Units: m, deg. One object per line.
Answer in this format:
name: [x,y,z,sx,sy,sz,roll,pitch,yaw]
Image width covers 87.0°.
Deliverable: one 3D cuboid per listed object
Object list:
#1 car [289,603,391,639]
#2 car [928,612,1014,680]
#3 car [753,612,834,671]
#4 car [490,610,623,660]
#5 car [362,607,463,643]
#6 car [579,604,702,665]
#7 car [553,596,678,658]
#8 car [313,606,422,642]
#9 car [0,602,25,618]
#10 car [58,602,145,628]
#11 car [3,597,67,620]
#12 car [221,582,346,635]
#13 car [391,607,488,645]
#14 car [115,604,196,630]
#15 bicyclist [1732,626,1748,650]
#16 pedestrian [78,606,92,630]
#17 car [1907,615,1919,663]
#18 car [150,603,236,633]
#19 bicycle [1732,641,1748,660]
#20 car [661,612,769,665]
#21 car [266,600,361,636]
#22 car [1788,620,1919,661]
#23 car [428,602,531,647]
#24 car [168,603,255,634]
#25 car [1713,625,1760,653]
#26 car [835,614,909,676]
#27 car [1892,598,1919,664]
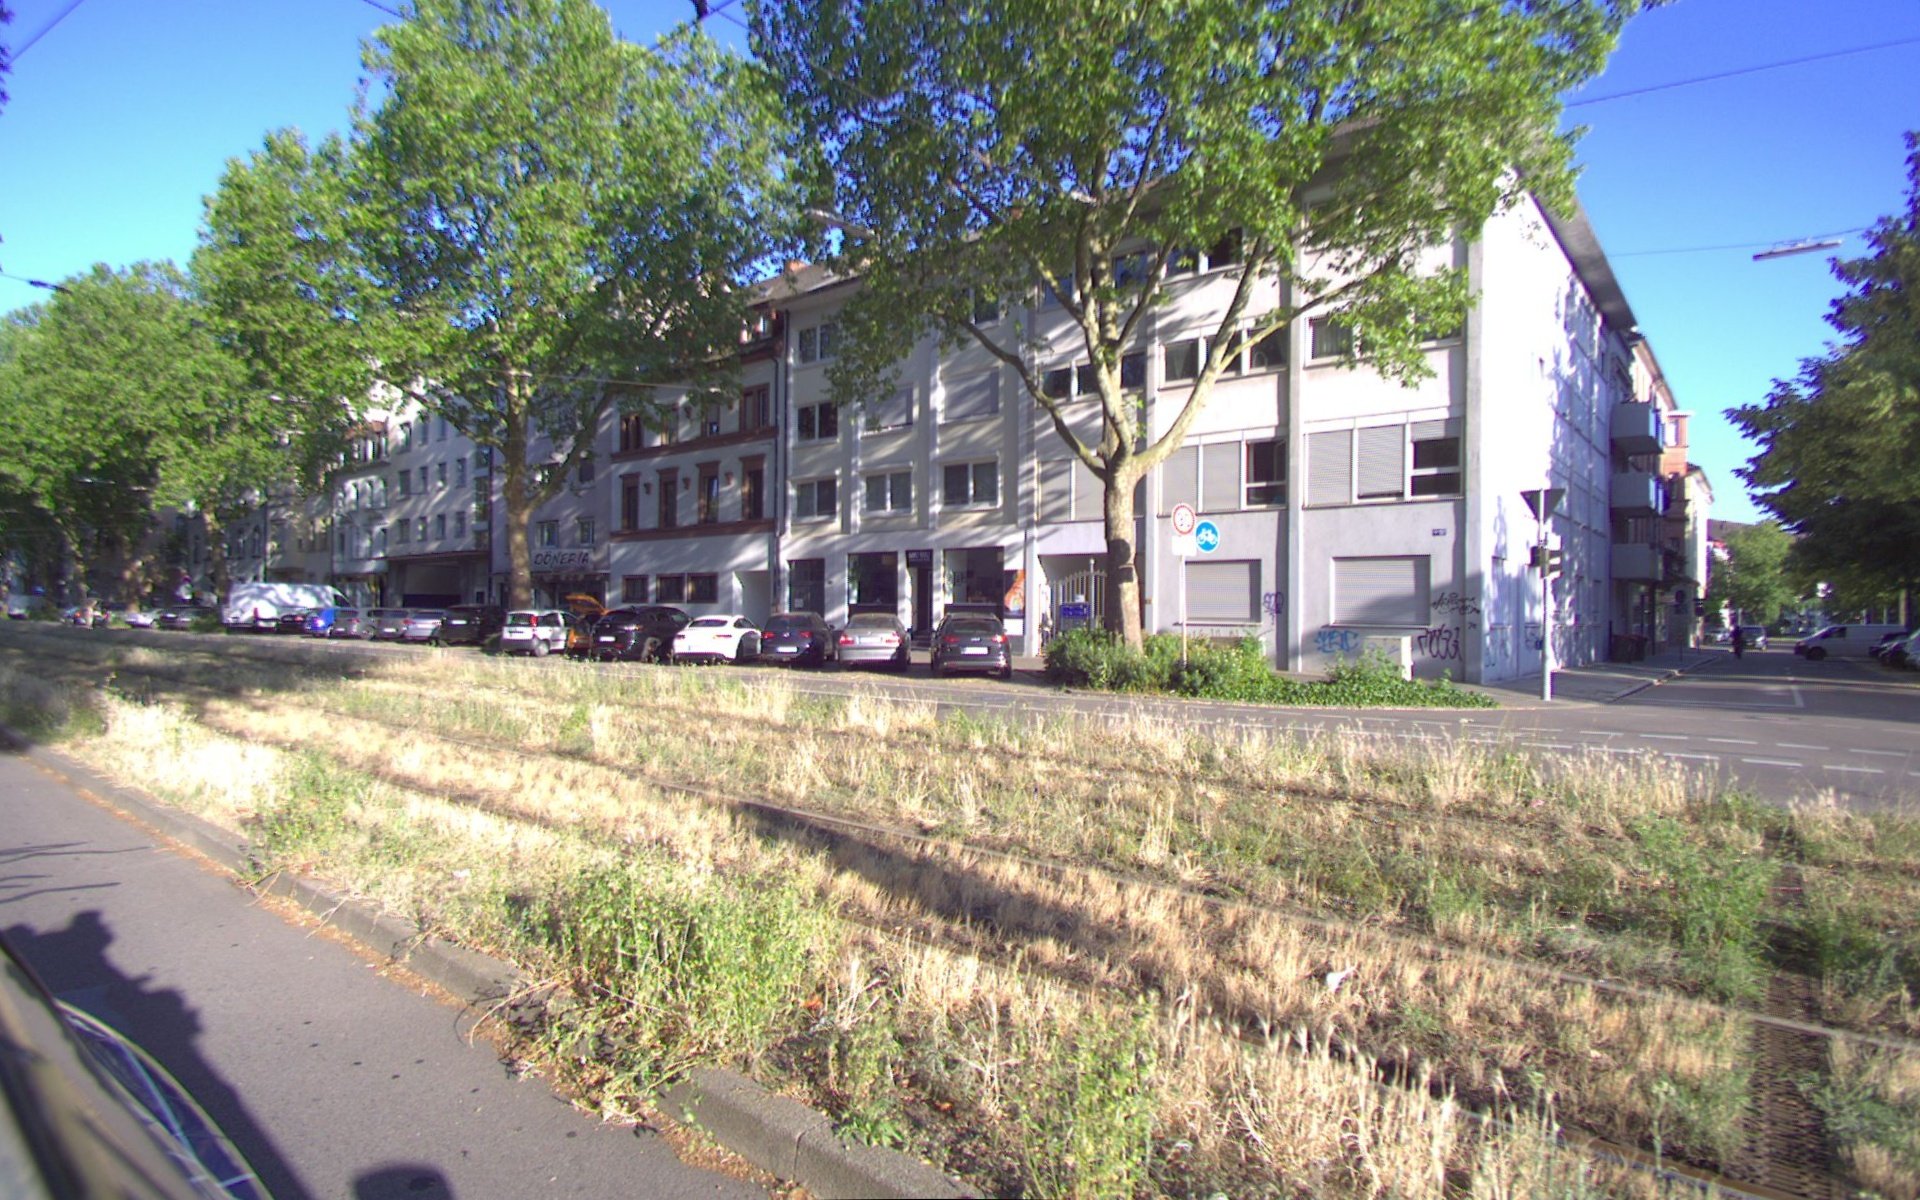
car: [-29.622,0.983,48.491,1.980,1.630,3.983,0,-1,13]
car: [0.181,1.011,23.768,1.746,1.442,3.973,1,-1,-3]
car: [-4.548,1.095,28.164,1.805,1.515,3.973,1,-1,-3]
car: [-13.474,1.143,34.082,1.633,1.569,4.222,0,-1,24]
car: [-23.758,1.062,44.100,1.883,1.468,4.252,0,-1,4]
car: [-9.659,1.008,30.988,2.126,1.697,4.251,0,-1,5]
car: [-11.493,0.877,34.091,1.508,1.958,4.222,0,-1,24]
car: [-27.174,1.084,46.545,1.985,1.529,3.974,0,-1,19]
car: [-110.151,1.126,116.294,3.937,1.826,1.876,1,-1,-41]
car: [-58.557,1.000,69.113,1.996,1.719,4.185,0,-1,36]
car: [-92.204,0.854,100.969,2.071,2.230,4.944,1,-1,-2]
car: [-36.490,0.457,54.792,2.160,2.721,5.584,0,-1,15]
car: [-21.398,1.051,41.814,1.582,1.470,4.252,0,-1,4]
car: [-55.324,1.191,69.693,1.980,1.719,3.983,0,-1,13]
bicyclist: [43.733,2.119,56.742,0.632,1.341,0.956,0,-1,40]
pedestrian: [-58.483,1.180,67.621,0.421,1.609,0.612,0,-1,40]
car: [35.528,1.362,34.423,4.707,1.674,1.973,0,-1,41]
car: [-48.646,1.138,64.286,1.980,1.829,3.983,0,-1,13]
bicycle: [43.672,2.807,56.653,0.632,0.988,1.962,0,-1,40]
car: [-6.934,1.064,29.098,2.122,1.388,4.258,1,-1,-1]
car: [-34.081,0.938,53.494,1.980,1.829,3.983,0,-1,13]
car: [47.711,2.133,53.887,5.409,2.029,1.978,0,-1,33]
car: [-18.700,0.937,39.610,1.882,1.626,4.255,0,-1,2]
car: [-46.031,1.133,62.318,1.980,1.829,3.983,0,-1,13]
car: [59.044,2.941,77.040,1.991,2.029,5.372,0,-1,28]
car: [-2.179,1.082,25.841,1.717,1.443,3.973,-1,-1,-3]
car: [39.073,1.219,38.494,5.103,2.537,1.976,0,-1,36]
